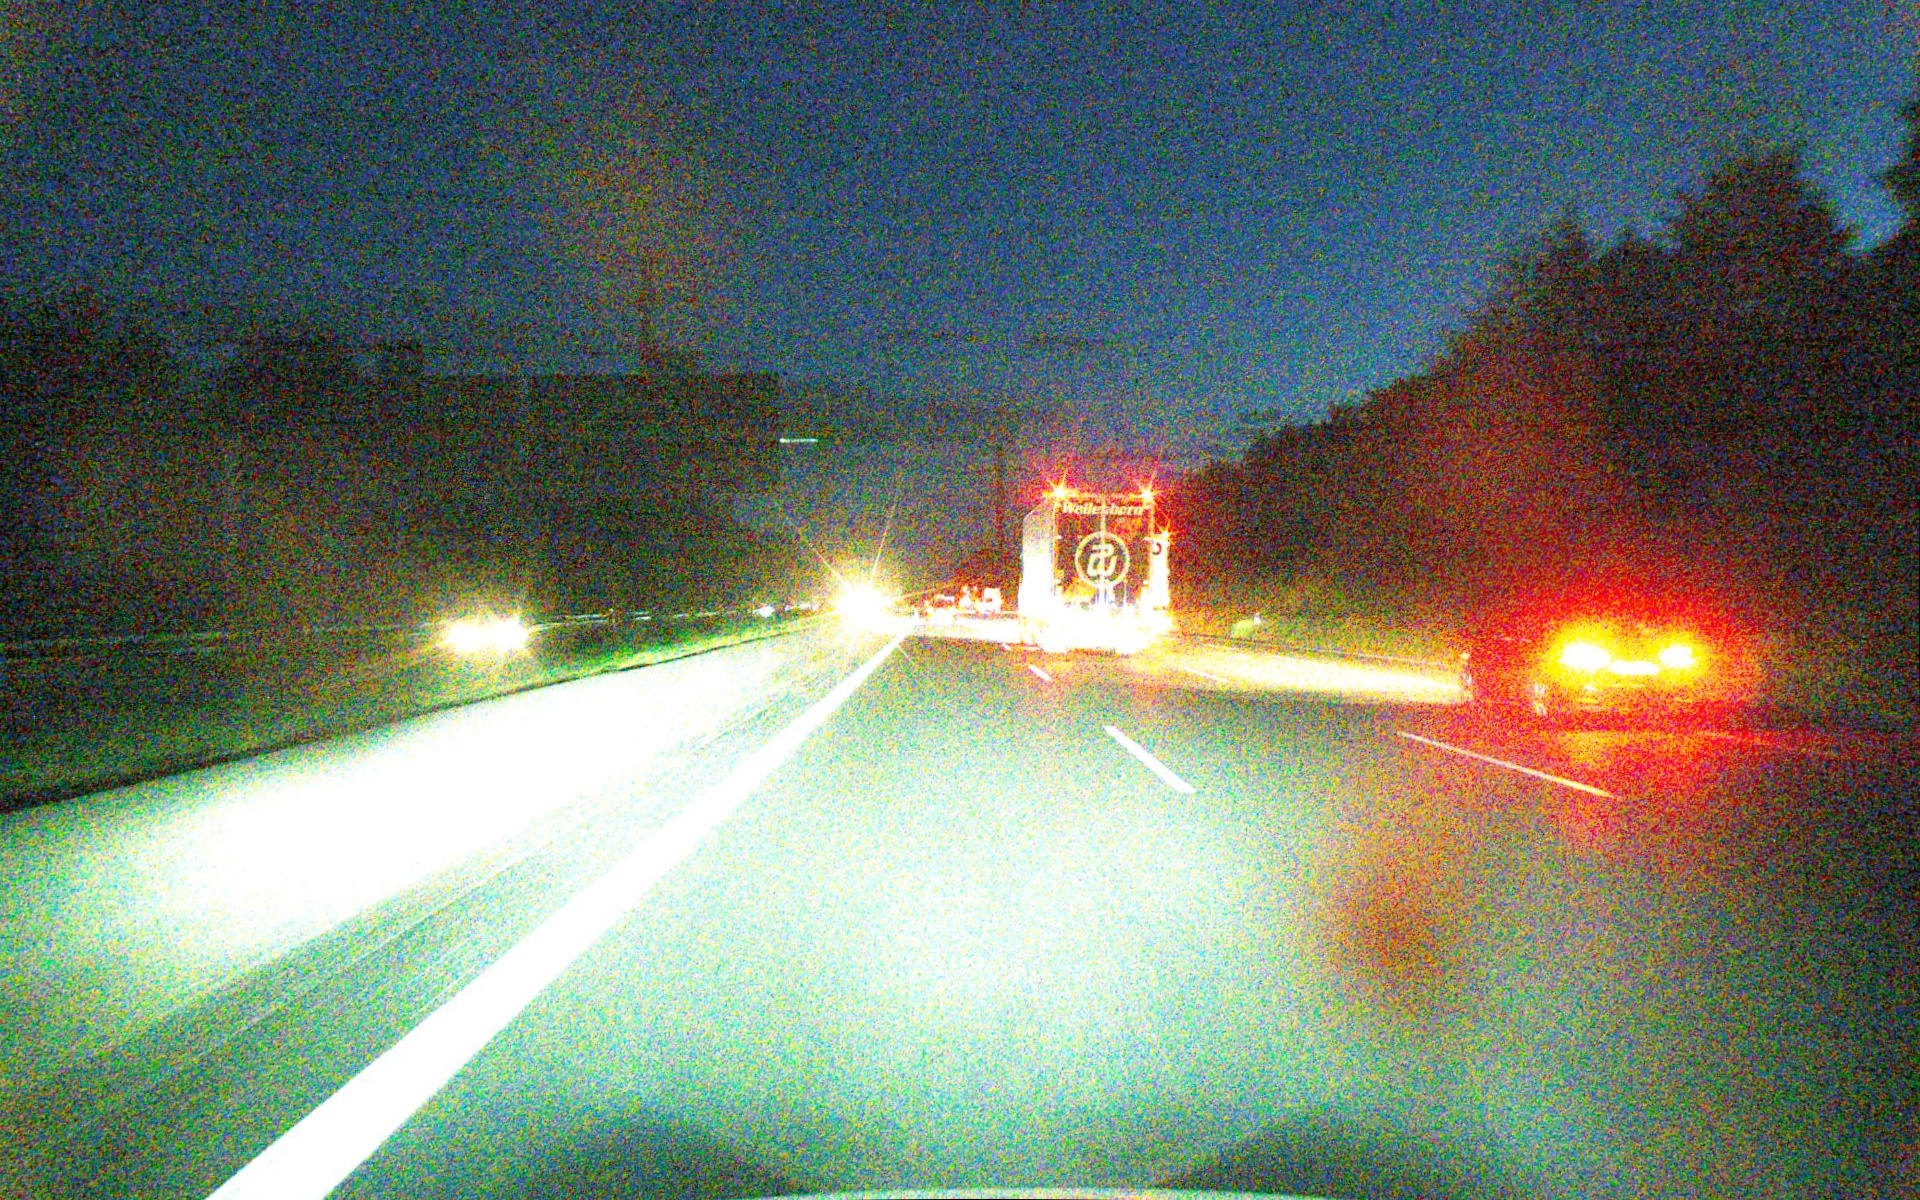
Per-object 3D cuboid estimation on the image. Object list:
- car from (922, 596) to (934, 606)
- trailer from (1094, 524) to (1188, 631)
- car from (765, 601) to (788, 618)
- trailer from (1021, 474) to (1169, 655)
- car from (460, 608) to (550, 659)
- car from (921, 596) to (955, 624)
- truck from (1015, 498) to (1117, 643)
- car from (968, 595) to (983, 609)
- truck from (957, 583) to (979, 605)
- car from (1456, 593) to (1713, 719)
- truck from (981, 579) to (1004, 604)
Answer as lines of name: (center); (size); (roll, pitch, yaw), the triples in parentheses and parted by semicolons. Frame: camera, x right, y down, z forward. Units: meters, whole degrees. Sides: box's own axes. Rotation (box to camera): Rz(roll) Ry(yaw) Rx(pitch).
car: (-4.947, 0.189, 255.018); (1.784, 1.492, 4.246); (1, 0, -2)
trailer: (7.454, -0.881, 69.324); (2.538, 4.143, 10.005); (1, 0, -1)
car: (-17.040, 0.894, 153.837); (1.715, 1.504, 4.941); (-2, 0, -2)
trailer: (3.480, -0.847, 46.328); (2.687, 4.280, 13.506); (1, 0, -1)
car: (-15.233, 1.074, 55.565); (1.784, 1.491, 4.558); (-4, 0, -2)
car: (-1.233, 0.527, 90.624); (1.784, 1.492, 4.246); (1, 0, -2)
truck: (3.292, -0.879, 52.802); (2.608, 4.280, 6.720); (1, 0, -1)
car: (1.579, 0.221, 168.021); (1.319, 1.411, 3.500); (1, 0, -2)
truck: (1.295, -1.004, 263.274); (2.983, 3.383, 10.137); (1, 0, -2)
car: (8.200, 0.675, 22.152); (1.784, 1.492, 4.247); (1, 0, -1)
truck: (3.704, -0.928, 190.142); (2.035, 2.738, 7.301); (1, -1, -4)
